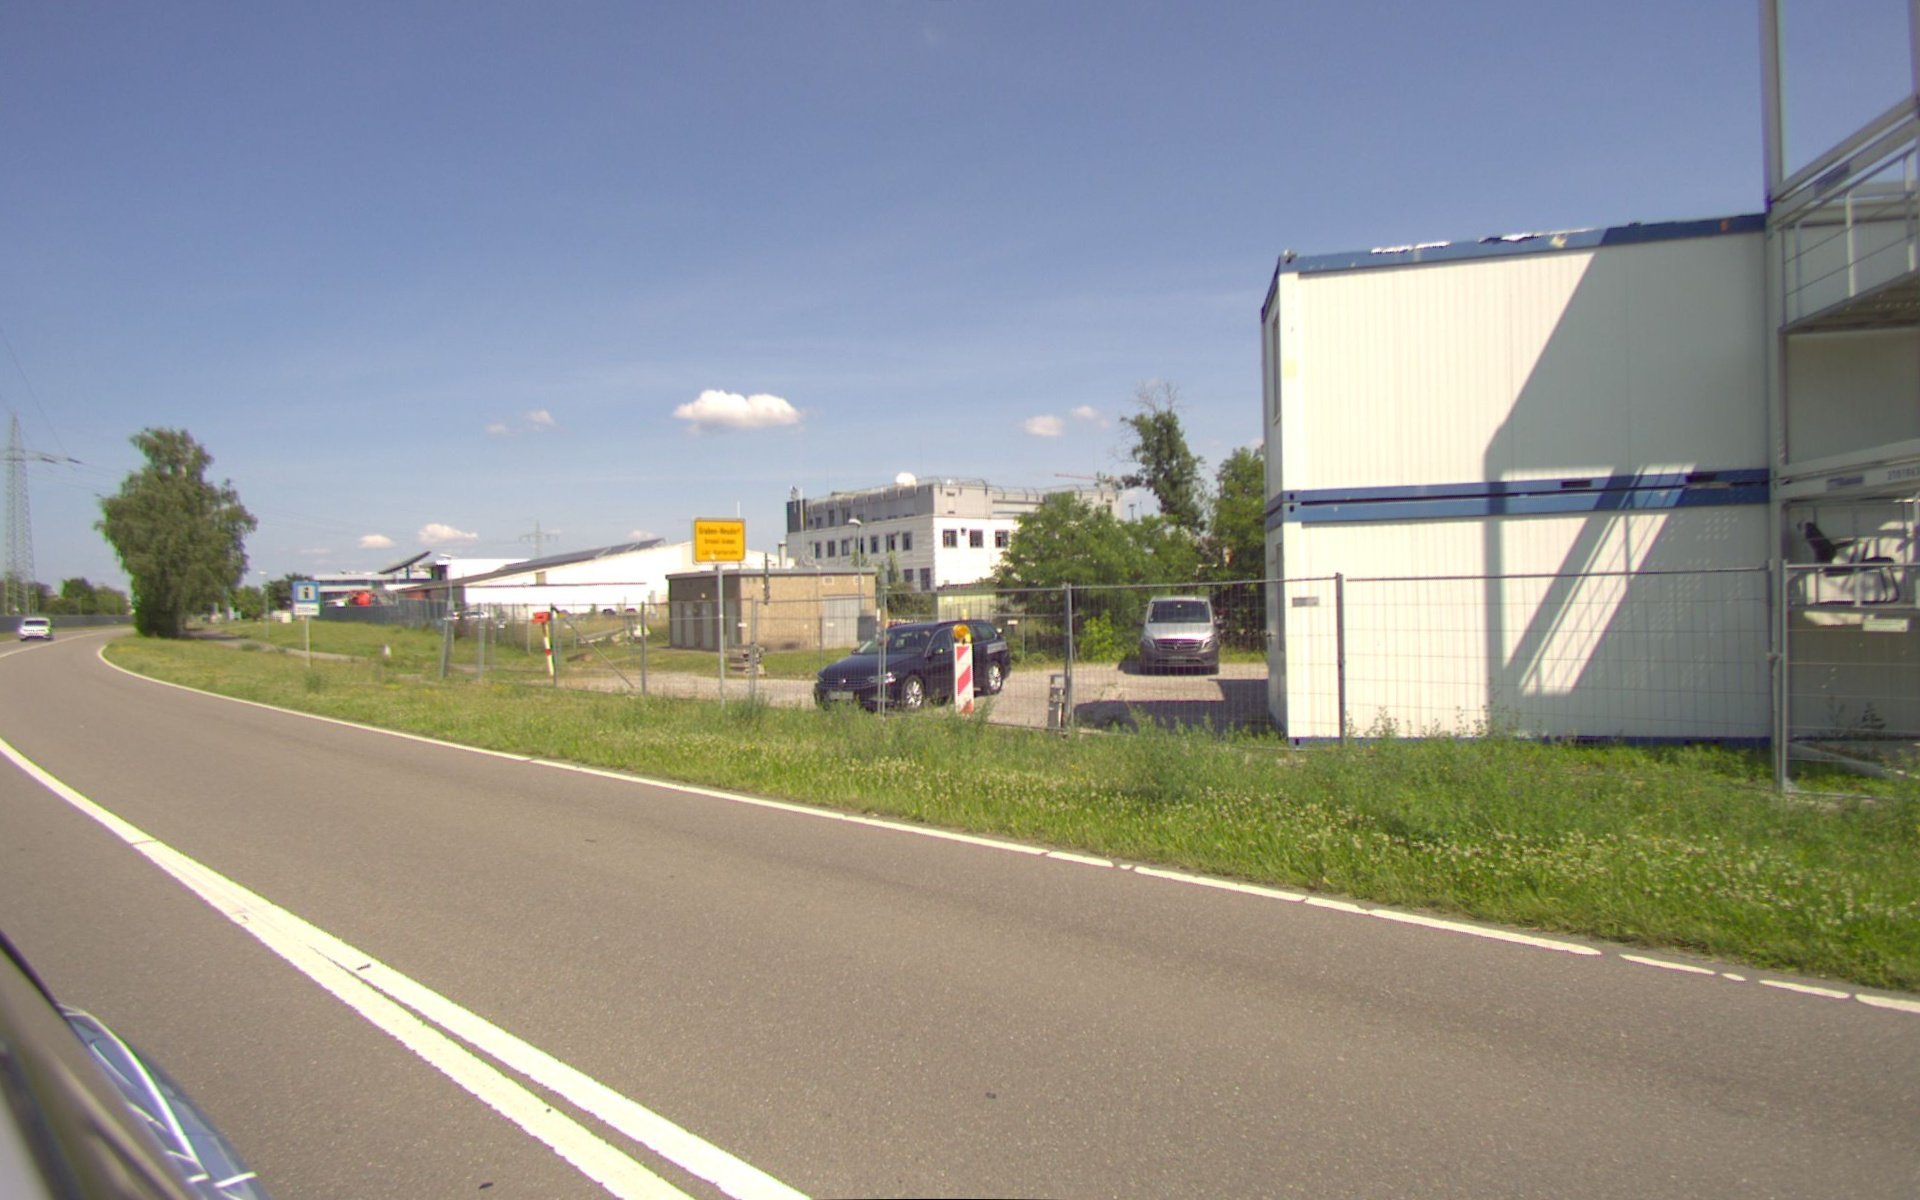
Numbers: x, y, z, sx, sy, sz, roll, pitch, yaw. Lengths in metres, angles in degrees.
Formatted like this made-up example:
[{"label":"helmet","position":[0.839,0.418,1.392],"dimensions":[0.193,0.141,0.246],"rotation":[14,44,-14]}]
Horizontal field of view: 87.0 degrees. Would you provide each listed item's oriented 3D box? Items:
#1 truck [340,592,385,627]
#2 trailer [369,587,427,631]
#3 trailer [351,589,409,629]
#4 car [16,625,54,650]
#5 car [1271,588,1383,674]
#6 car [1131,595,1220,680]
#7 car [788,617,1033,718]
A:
[{"label":"truck","position":[-64.705,1.012,109.526],"dimensions":[3.061,3.672,10.618],"rotation":[0,0,-37]},{"label":"trailer","position":[-49.992,0.798,89.846],"dimensions":[3.355,3.672,8.678],"rotation":[0,0,-37]},{"label":"trailer","position":[-57.046,0.901,99.306],"dimensions":[3.247,3.672,14.958],"rotation":[0,0,-37]},{"label":"car","position":[-72.746,2.934,79.633],"dimensions":[1.808,1.820,4.840],"rotation":[0,-1,-37]},{"label":"car","position":[9.052,0.694,25.324],"dimensions":[1.979,1.880,4.298],"rotation":[-2,1,12]},{"label":"car","position":[5.512,0.867,26.009],"dimensions":[1.979,1.880,5.003],"rotation":[-2,1,12]},{"label":"car","position":[-0.715,1.120,18.421],"dimensions":[1.993,1.427,4.932],"rotation":[-2,0,32]}]
